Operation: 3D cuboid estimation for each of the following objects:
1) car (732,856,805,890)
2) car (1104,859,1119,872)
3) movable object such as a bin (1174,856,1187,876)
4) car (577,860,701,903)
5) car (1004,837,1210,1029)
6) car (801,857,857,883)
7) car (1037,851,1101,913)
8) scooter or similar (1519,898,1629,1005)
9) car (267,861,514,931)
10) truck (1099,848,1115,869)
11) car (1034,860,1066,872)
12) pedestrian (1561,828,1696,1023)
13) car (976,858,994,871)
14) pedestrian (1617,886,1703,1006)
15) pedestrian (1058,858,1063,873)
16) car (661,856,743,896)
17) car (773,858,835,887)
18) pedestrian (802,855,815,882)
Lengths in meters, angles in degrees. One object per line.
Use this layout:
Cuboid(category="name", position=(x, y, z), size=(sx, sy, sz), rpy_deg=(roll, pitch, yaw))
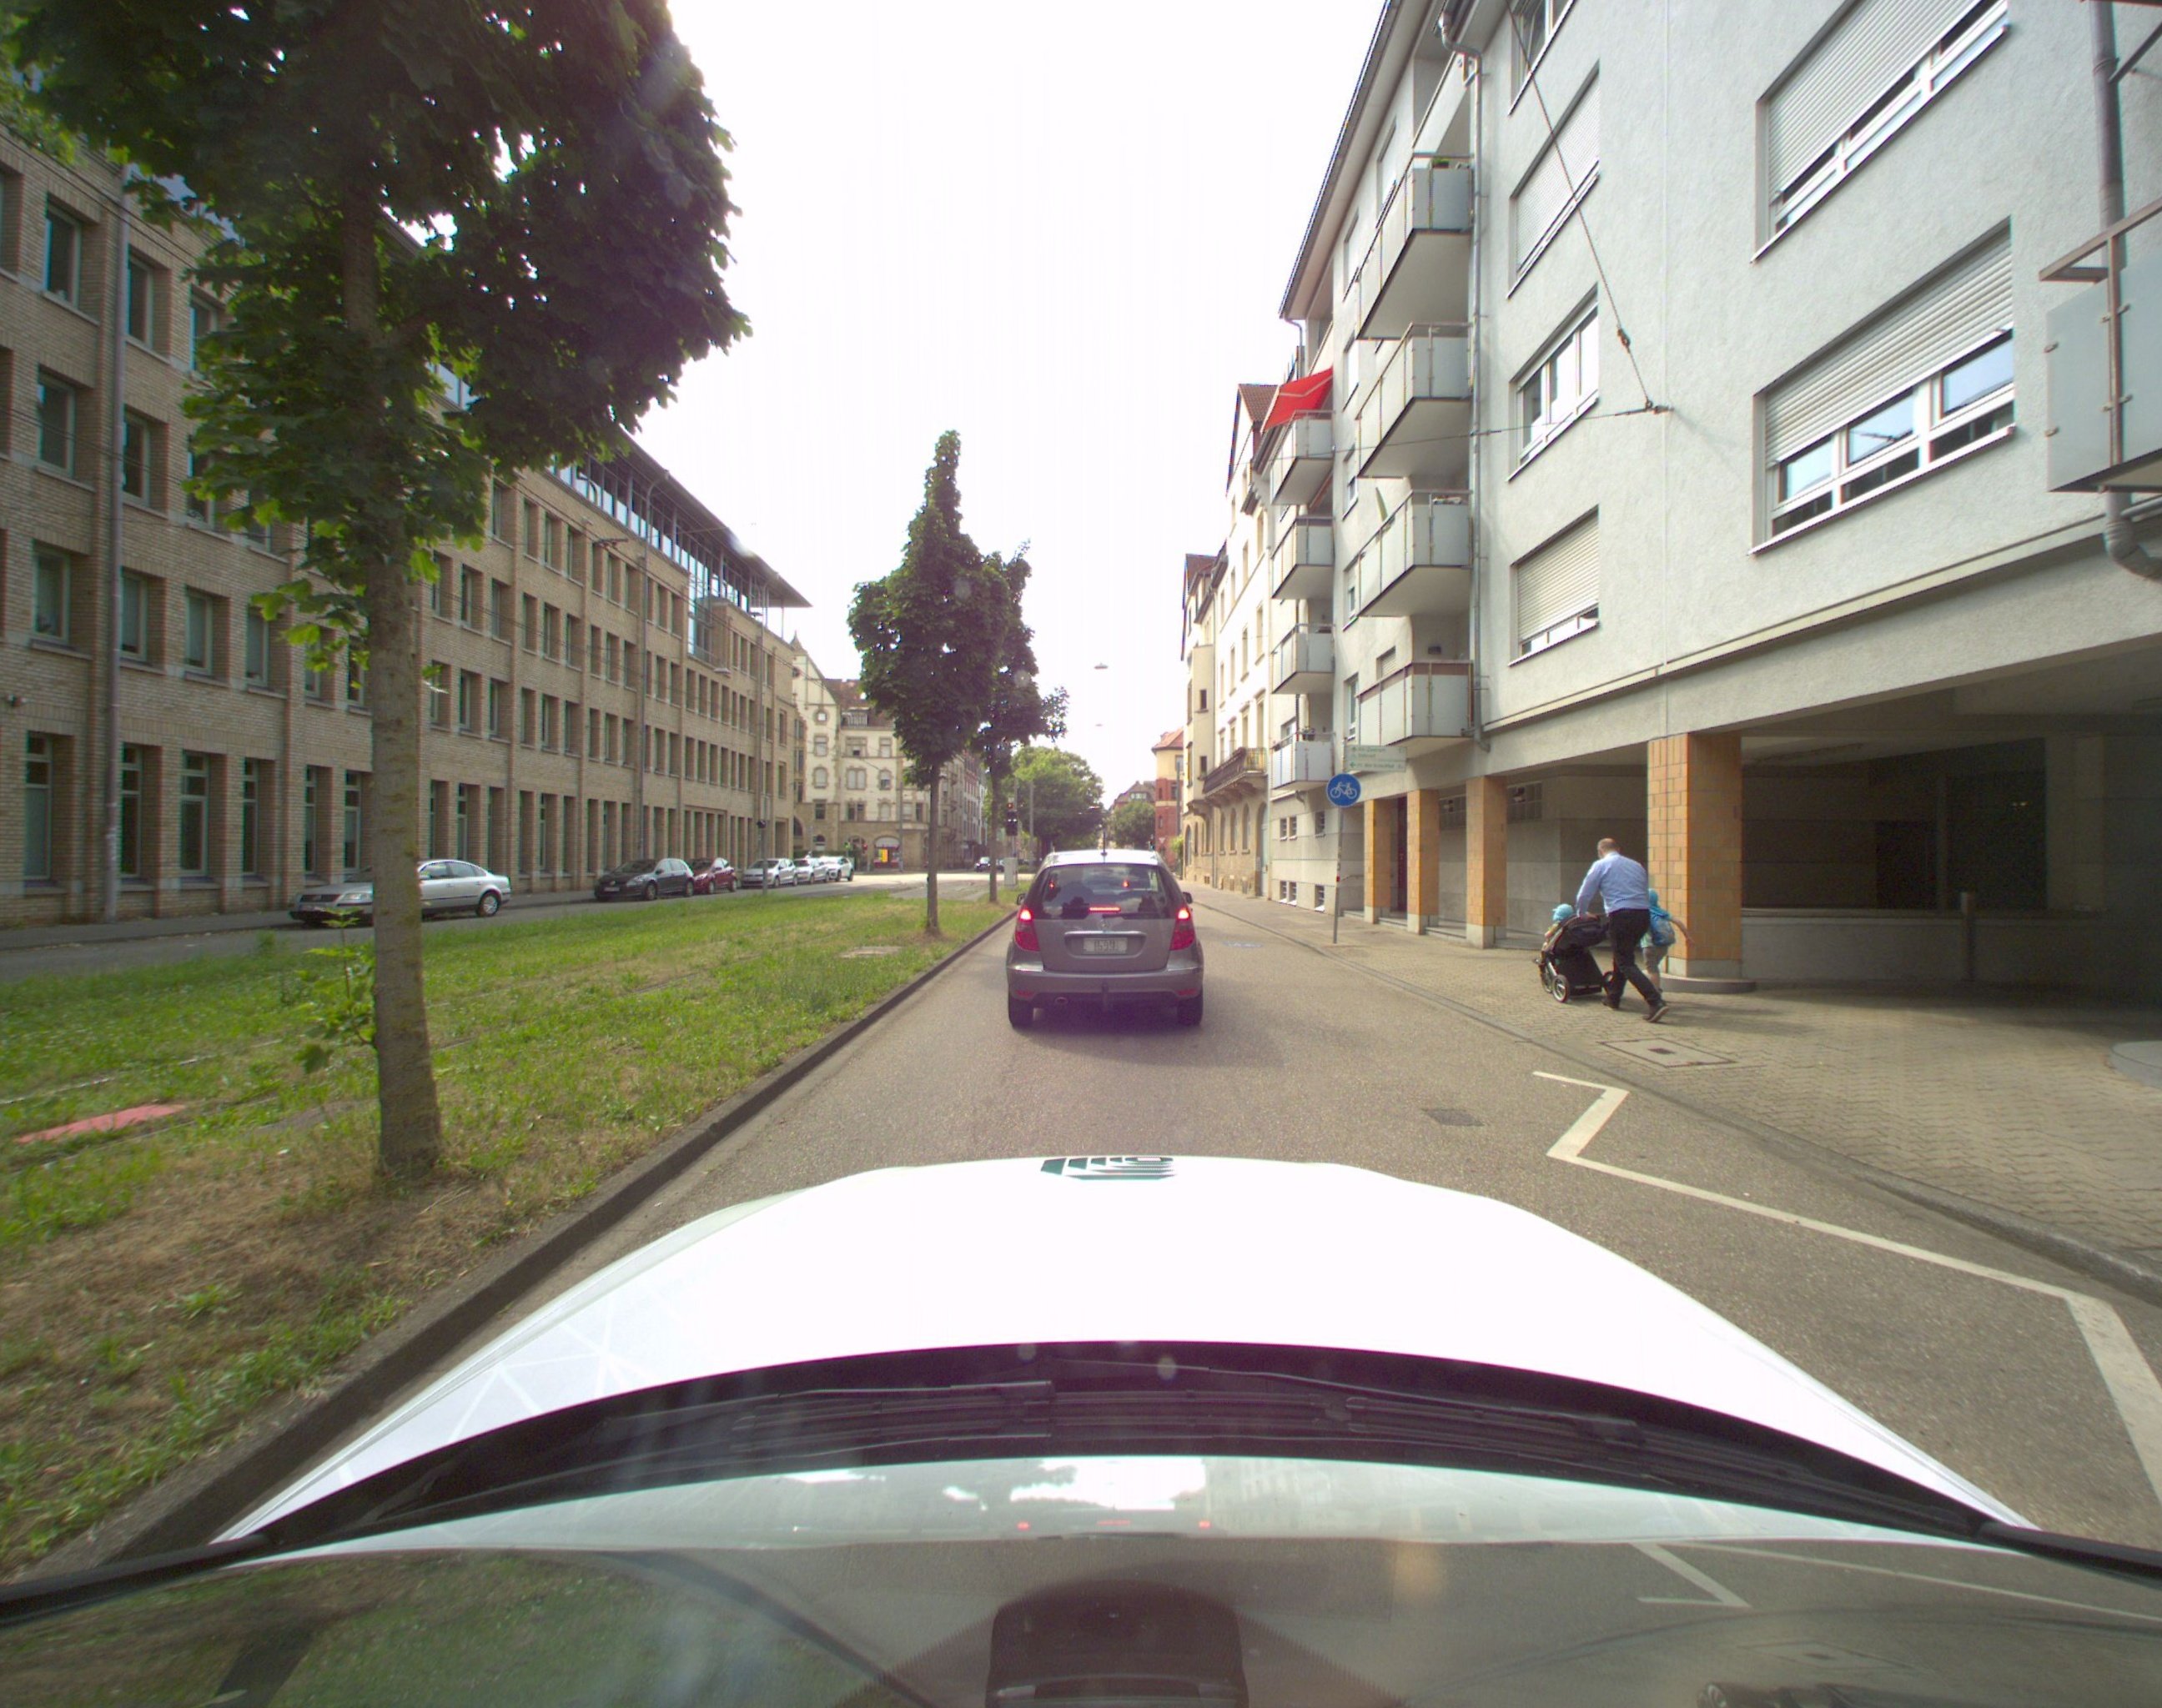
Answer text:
Cuboid(category="car", position=(-15.215, 0.895, 39.900), size=(1.844, 1.531, 4.212), rpy_deg=(0, 0, 2))
Cuboid(category="car", position=(4.001, 1.468, 106.160), size=(1.744, 1.633, 3.504), rpy_deg=(0, 0, 5))
Cuboid(category="movable object such as a bin", position=(7.530, 0.898, 61.529), size=(0.714, 1.472, 0.980), rpy_deg=(0, -1, -8))
Cuboid(category="car", position=(-15.339, 0.918, 28.569), size=(1.925, 1.396, 4.241), rpy_deg=(0, 0, 2))
Cuboid(category="car", position=(0.276, 0.681, 8.690), size=(1.716, 1.605, 3.678), rpy_deg=(0, -1, 2))
Cuboid(category="car", position=(-15.221, 0.955, 49.499), size=(1.925, 1.535, 4.260), rpy_deg=(0, 0, 2))
Cuboid(category="car", position=(-0.280, 0.794, 24.325), size=(1.716, 1.706, 3.678), rpy_deg=(0, -1, 2))
Cuboid(category="scooter or similar", position=(5.267, 1.019, 8.758), size=(0.590, 1.002, 0.906), rpy_deg=(-4, -1, 2))
Cuboid(category="car", position=(-15.481, 0.860, 18.654), size=(1.709, 1.396, 4.486), rpy_deg=(0, 0, 2))
Cuboid(category="truck", position=(3.894, 0.714, 119.138), size=(2.113, 2.970, 4.005), rpy_deg=(-1, -1, 5))
Cuboid(category="car", position=(-3.901, 1.475, 100.949), size=(1.984, 1.339, 3.954), rpy_deg=(1, -1, -38))
Cuboid(category="pedestrian", position=(5.237, 0.650, 7.850), size=(0.618, 1.738, 0.877), rpy_deg=(-3, -1, 1))
Cuboid(category="car", position=(-11.598, 1.254, 98.243), size=(1.990, 1.618, 3.994), rpy_deg=(0, -1, -4))
Cuboid(category="pedestrian", position=(5.869, 0.919, 8.274), size=(0.454, 1.135, 0.494), rpy_deg=(-3, -1, 1))
Cuboid(category="pedestrian", position=(-2.333, 1.285, 93.355), size=(0.493, 1.725, 0.651), rpy_deg=(1, -1, -11))
Cuboid(category="car", position=(-15.377, 0.873, 33.250), size=(1.577, 1.531, 3.551), rpy_deg=(0, 0, 2))
Cuboid(category="car", position=(-15.217, 0.992, 44.943), size=(1.925, 1.531, 4.016), rpy_deg=(0, 0, 2))
Cuboid(category="pedestrian", position=(-18.348, 0.969, 54.826), size=(0.763, 1.795, 0.952), rpy_deg=(1, -1, -24))
